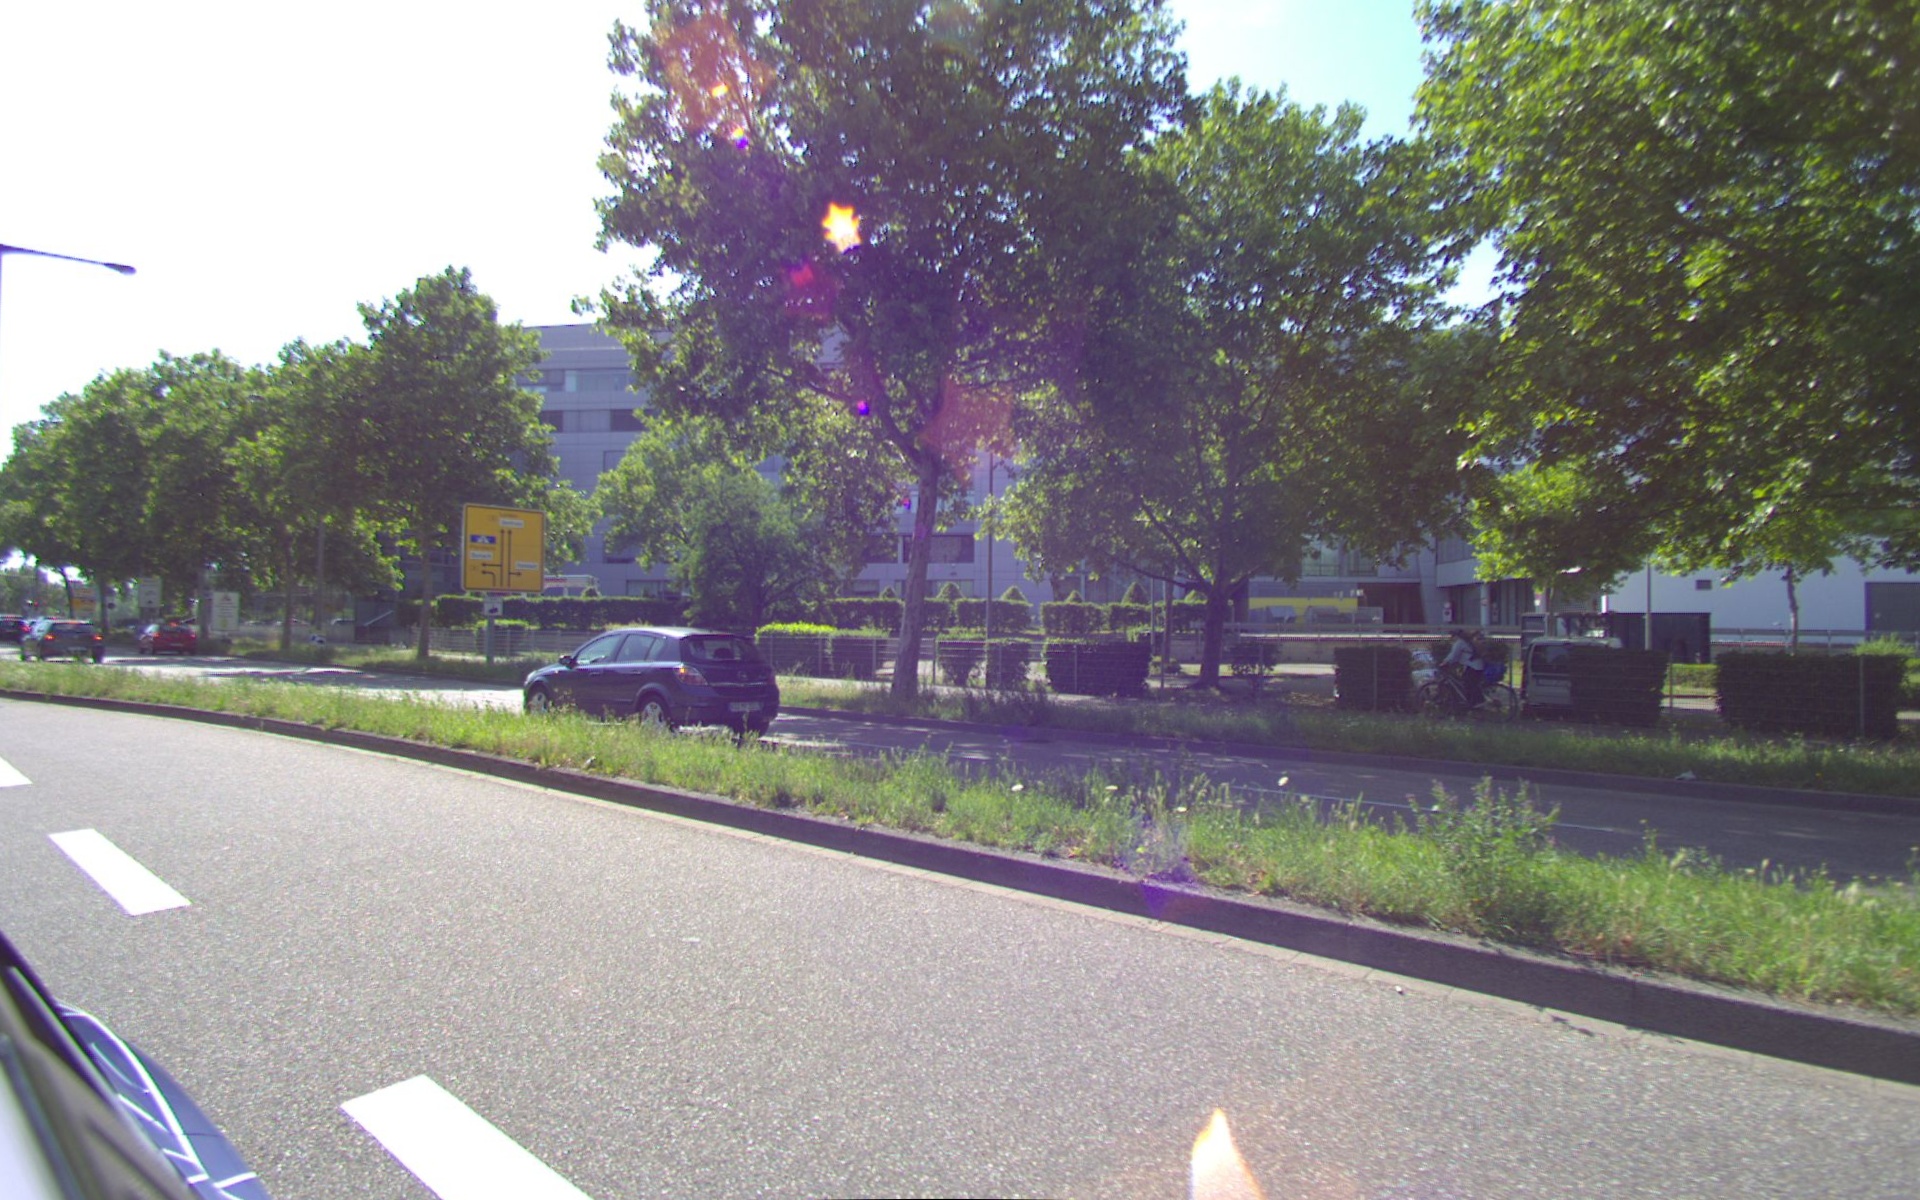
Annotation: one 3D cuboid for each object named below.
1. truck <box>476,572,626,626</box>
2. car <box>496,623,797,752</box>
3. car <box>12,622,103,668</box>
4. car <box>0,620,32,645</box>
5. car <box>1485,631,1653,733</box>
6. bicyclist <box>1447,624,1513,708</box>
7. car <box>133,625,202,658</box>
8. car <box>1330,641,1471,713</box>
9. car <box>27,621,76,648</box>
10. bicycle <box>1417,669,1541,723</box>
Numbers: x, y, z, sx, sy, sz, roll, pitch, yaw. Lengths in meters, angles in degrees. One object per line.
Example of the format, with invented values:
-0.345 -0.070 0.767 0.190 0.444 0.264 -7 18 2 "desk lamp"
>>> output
-26.789 -0.034 66.449 8.875 3.421 2.669 0 -2 5 "truck"
-4.324 1.072 13.652 4.277 1.480 1.751 -1 -3 38 "car"
-31.286 1.527 35.045 4.164 1.490 1.820 -1 -3 41 "car"
-59.035 2.022 62.546 4.983 1.479 1.809 -1 -3 40 "car"
12.756 1.608 21.113 2.157 1.836 3.942 -1 -1 44 "car"
9.563 1.203 18.613 0.941 1.496 0.674 -2 -3 41 "bicyclist"
-36.885 1.940 47.084 3.998 1.473 1.745 -1 -4 41 "car"
9.989 1.668 22.809 1.772 1.475 3.945 -2 -3 41 "car"
-64.435 2.489 71.746 4.648 1.849 1.973 -2 -4 41 "car"
9.520 1.748 18.623 1.925 0.873 0.682 -1 -3 41 "bicycle"
